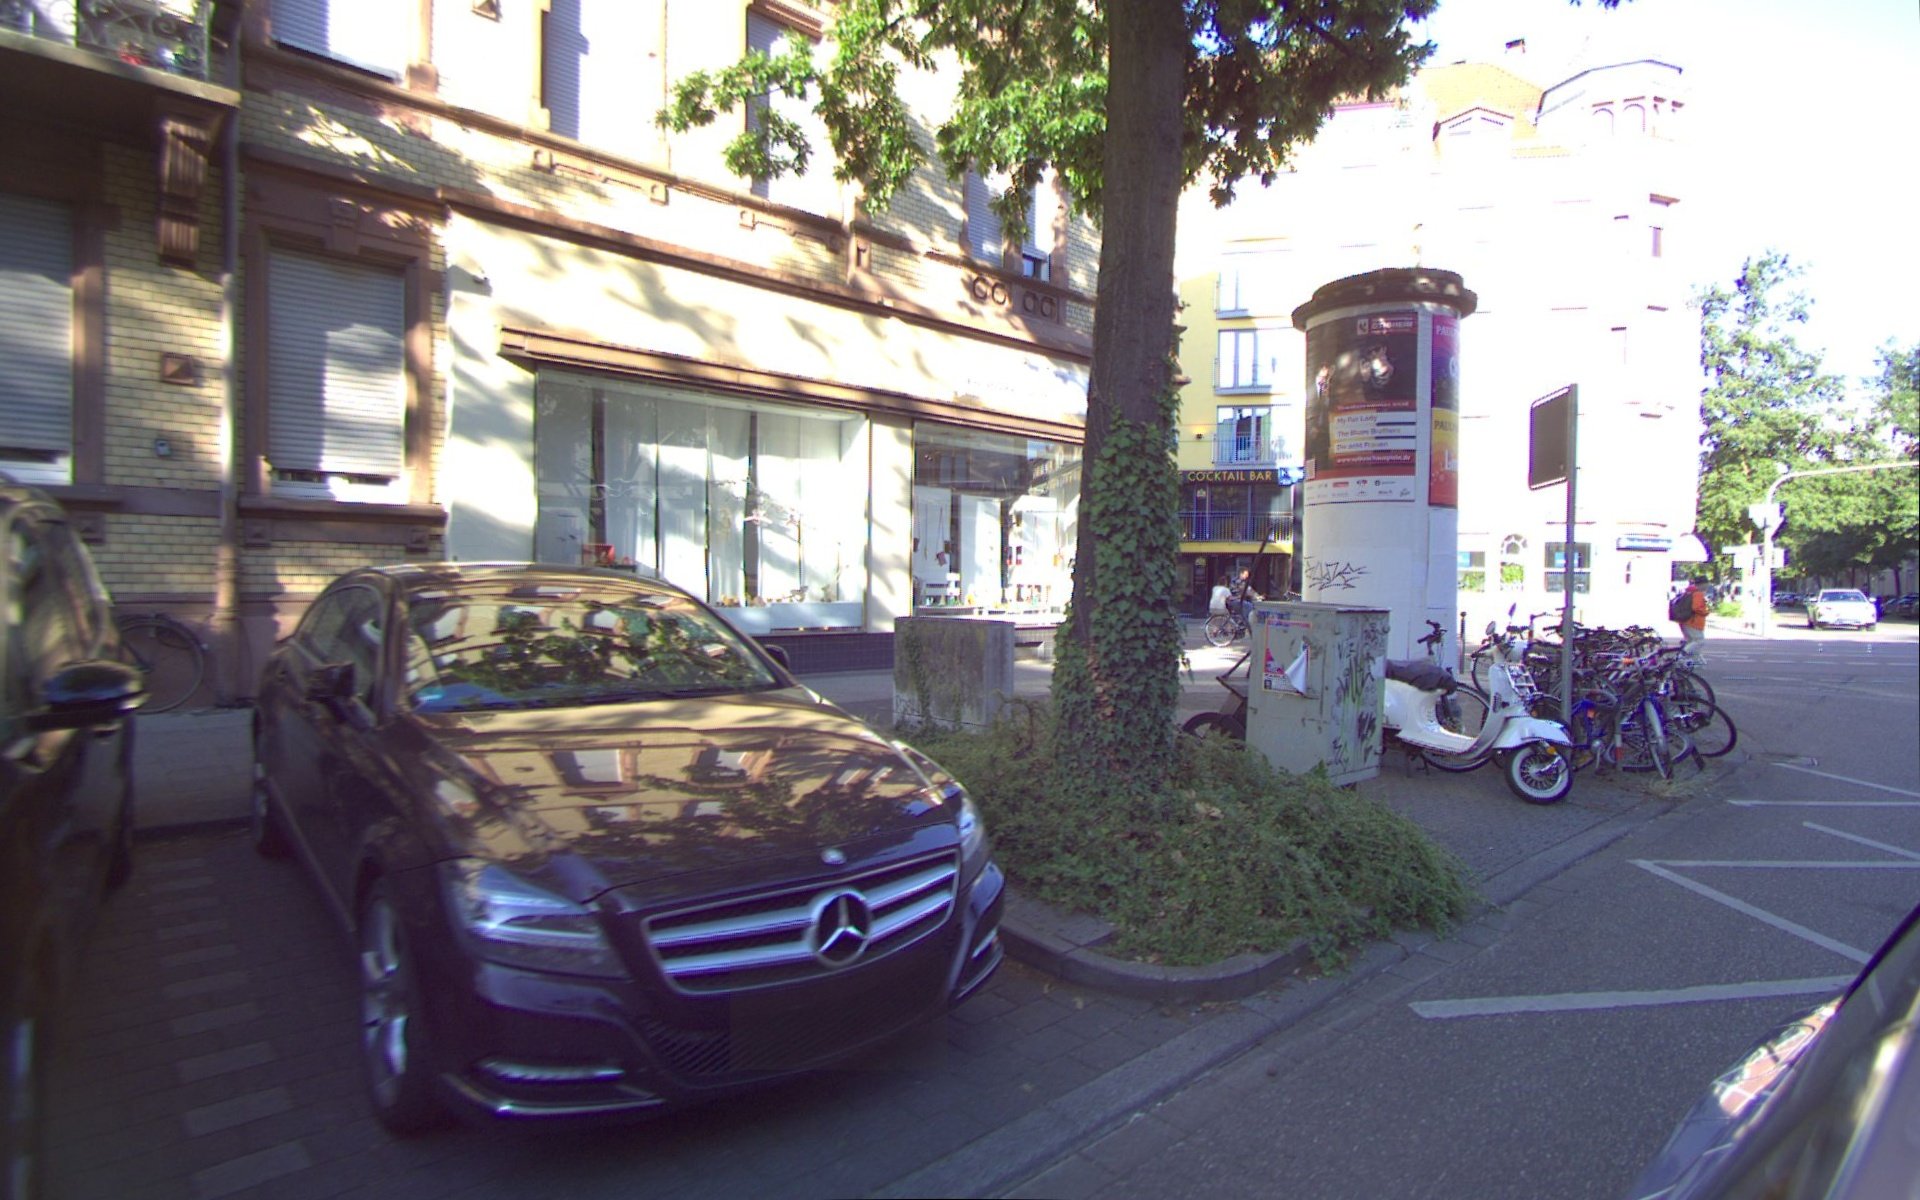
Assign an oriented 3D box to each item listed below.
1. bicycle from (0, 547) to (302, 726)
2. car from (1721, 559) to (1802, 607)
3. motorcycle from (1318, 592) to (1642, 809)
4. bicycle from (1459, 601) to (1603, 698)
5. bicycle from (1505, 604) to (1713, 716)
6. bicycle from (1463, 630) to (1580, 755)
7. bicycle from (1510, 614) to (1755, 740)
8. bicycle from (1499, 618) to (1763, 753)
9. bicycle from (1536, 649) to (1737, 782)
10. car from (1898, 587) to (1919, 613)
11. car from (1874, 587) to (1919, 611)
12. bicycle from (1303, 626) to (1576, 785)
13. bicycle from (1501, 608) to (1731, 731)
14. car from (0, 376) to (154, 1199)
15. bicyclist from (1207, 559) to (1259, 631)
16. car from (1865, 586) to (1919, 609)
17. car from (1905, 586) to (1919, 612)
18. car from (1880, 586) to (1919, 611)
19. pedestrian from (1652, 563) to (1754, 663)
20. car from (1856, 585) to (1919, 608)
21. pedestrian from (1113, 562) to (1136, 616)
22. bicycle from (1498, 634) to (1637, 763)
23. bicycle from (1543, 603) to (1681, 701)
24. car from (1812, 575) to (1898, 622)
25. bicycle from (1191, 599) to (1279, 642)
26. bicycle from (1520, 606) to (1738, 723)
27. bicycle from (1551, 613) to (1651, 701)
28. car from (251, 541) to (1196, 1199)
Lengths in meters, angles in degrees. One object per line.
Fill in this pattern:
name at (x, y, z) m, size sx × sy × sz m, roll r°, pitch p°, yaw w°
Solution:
bicycle at (-6.321, 0.231, 7.325) m, size 2.546 × 1.185 × 0.672 m, roll 0°, pitch 4°, yaw -40°
car at (56.254, -1.222, 71.249) m, size 3.298 × 3.218 × 7.998 m, roll 1°, pitch 1°, yaw 30°
motorcycle at (3.643, 0.621, 7.251) m, size 0.674 × 1.249 × 1.902 m, roll 0°, pitch 4°, yaw -41°
bicycle at (7.067, 0.609, 12.547) m, size 1.447 × 1.106 × 0.575 m, roll 2°, pitch 3°, yaw -10°
bicycle at (7.333, 0.662, 11.504) m, size 1.905 × 1.106 × 0.424 m, roll 3°, pitch 3°, yaw 9°
bicycle at (4.904, 0.767, 8.804) m, size 1.498 × 0.938 × 0.354 m, roll -1°, pitch 4°, yaw -41°
bicycle at (6.629, 0.741, 10.061) m, size 1.906 × 1.064 × 0.501 m, roll 3°, pitch 3°, yaw 12°
bicycle at (6.105, 0.747, 9.336) m, size 1.918 × 0.999 × 0.492 m, roll 4°, pitch 4°, yaw 27°
bicycle at (5.160, 0.872, 7.729) m, size 1.383 × 0.938 × 0.355 m, roll 2°, pitch 3°, yaw -12°
car at (62.527, 0.046, 64.040) m, size 4.265 × 1.604 × 1.981 m, roll 1°, pitch 1°, yaw 28°
car at (67.226, -0.037, 70.996) m, size 4.268 × 1.604 × 1.979 m, roll 1°, pitch 1°, yaw 30°
bicycle at (3.722, 0.774, 8.033) m, size 0.348 × 0.938 × 1.934 m, roll -1°, pitch 5°, yaw -42°
bicycle at (6.776, 0.697, 10.527) m, size 1.906 × 1.106 × 0.424 m, roll 3°, pitch 3°, yaw 12°
car at (-3.384, 0.405, 2.636) m, size 1.816 × 1.699 × 4.703 m, roll 0°, pitch 3°, yaw -36°
bicyclist at (6.058, -0.103, 22.444) m, size 1.067 × 1.573 × 0.630 m, roll 0°, pitch -1°, yaw 19°
car at (69.037, -0.160, 73.703) m, size 4.268 × 1.604 × 1.979 m, roll 1°, pitch 1°, yaw 30°
car at (61.042, -0.033, 61.957) m, size 4.265 × 1.604 × 1.981 m, roll 1°, pitch 1°, yaw 28°
car at (63.411, -0.057, 66.299) m, size 4.265 × 1.604 × 1.981 m, roll 1°, pitch 1°, yaw 28°
pedestrian at (13.049, 0.204, 17.815) m, size 1.158 × 1.701 × 1.002 m, roll 1°, pitch 1°, yaw 19°
car at (70.206, -0.254, 75.785) m, size 4.268 × 1.604 × 1.979 m, roll 1°, pitch 1°, yaw 30°
pedestrian at (5.818, -0.403, 35.758) m, size 0.724 × 1.862 × 0.725 m, roll 1°, pitch 4°, yaw 13°
bicycle at (5.073, 0.783, 8.423) m, size 1.496 × 0.938 × 0.355 m, roll 0°, pitch 4°, yaw -35°
bicycle at (7.841, 0.623, 12.179) m, size 1.446 × 1.106 × 0.426 m, roll 2°, pitch 3°, yaw -12°
car at (36.207, -0.088, 41.035) m, size 1.986 × 1.771 × 3.953 m, roll 1°, pitch 2°, yaw 33°
bicycle at (6.086, 0.449, 22.426) m, size 1.854 × 0.924 × 0.630 m, roll 0°, pitch -1°, yaw 19°
bicycle at (7.250, 0.684, 11.029) m, size 1.905 × 1.106 × 0.424 m, roll 3°, pitch 3°, yaw 9°
bicycle at (8.215, 0.705, 13.016) m, size 0.989 × 1.039 × 0.732 m, roll 1°, pitch 1°, yaw 26°
car at (-1.570, 0.528, 4.107) m, size 1.818 × 1.430 × 4.798 m, roll 0°, pitch 3°, yaw -39°
